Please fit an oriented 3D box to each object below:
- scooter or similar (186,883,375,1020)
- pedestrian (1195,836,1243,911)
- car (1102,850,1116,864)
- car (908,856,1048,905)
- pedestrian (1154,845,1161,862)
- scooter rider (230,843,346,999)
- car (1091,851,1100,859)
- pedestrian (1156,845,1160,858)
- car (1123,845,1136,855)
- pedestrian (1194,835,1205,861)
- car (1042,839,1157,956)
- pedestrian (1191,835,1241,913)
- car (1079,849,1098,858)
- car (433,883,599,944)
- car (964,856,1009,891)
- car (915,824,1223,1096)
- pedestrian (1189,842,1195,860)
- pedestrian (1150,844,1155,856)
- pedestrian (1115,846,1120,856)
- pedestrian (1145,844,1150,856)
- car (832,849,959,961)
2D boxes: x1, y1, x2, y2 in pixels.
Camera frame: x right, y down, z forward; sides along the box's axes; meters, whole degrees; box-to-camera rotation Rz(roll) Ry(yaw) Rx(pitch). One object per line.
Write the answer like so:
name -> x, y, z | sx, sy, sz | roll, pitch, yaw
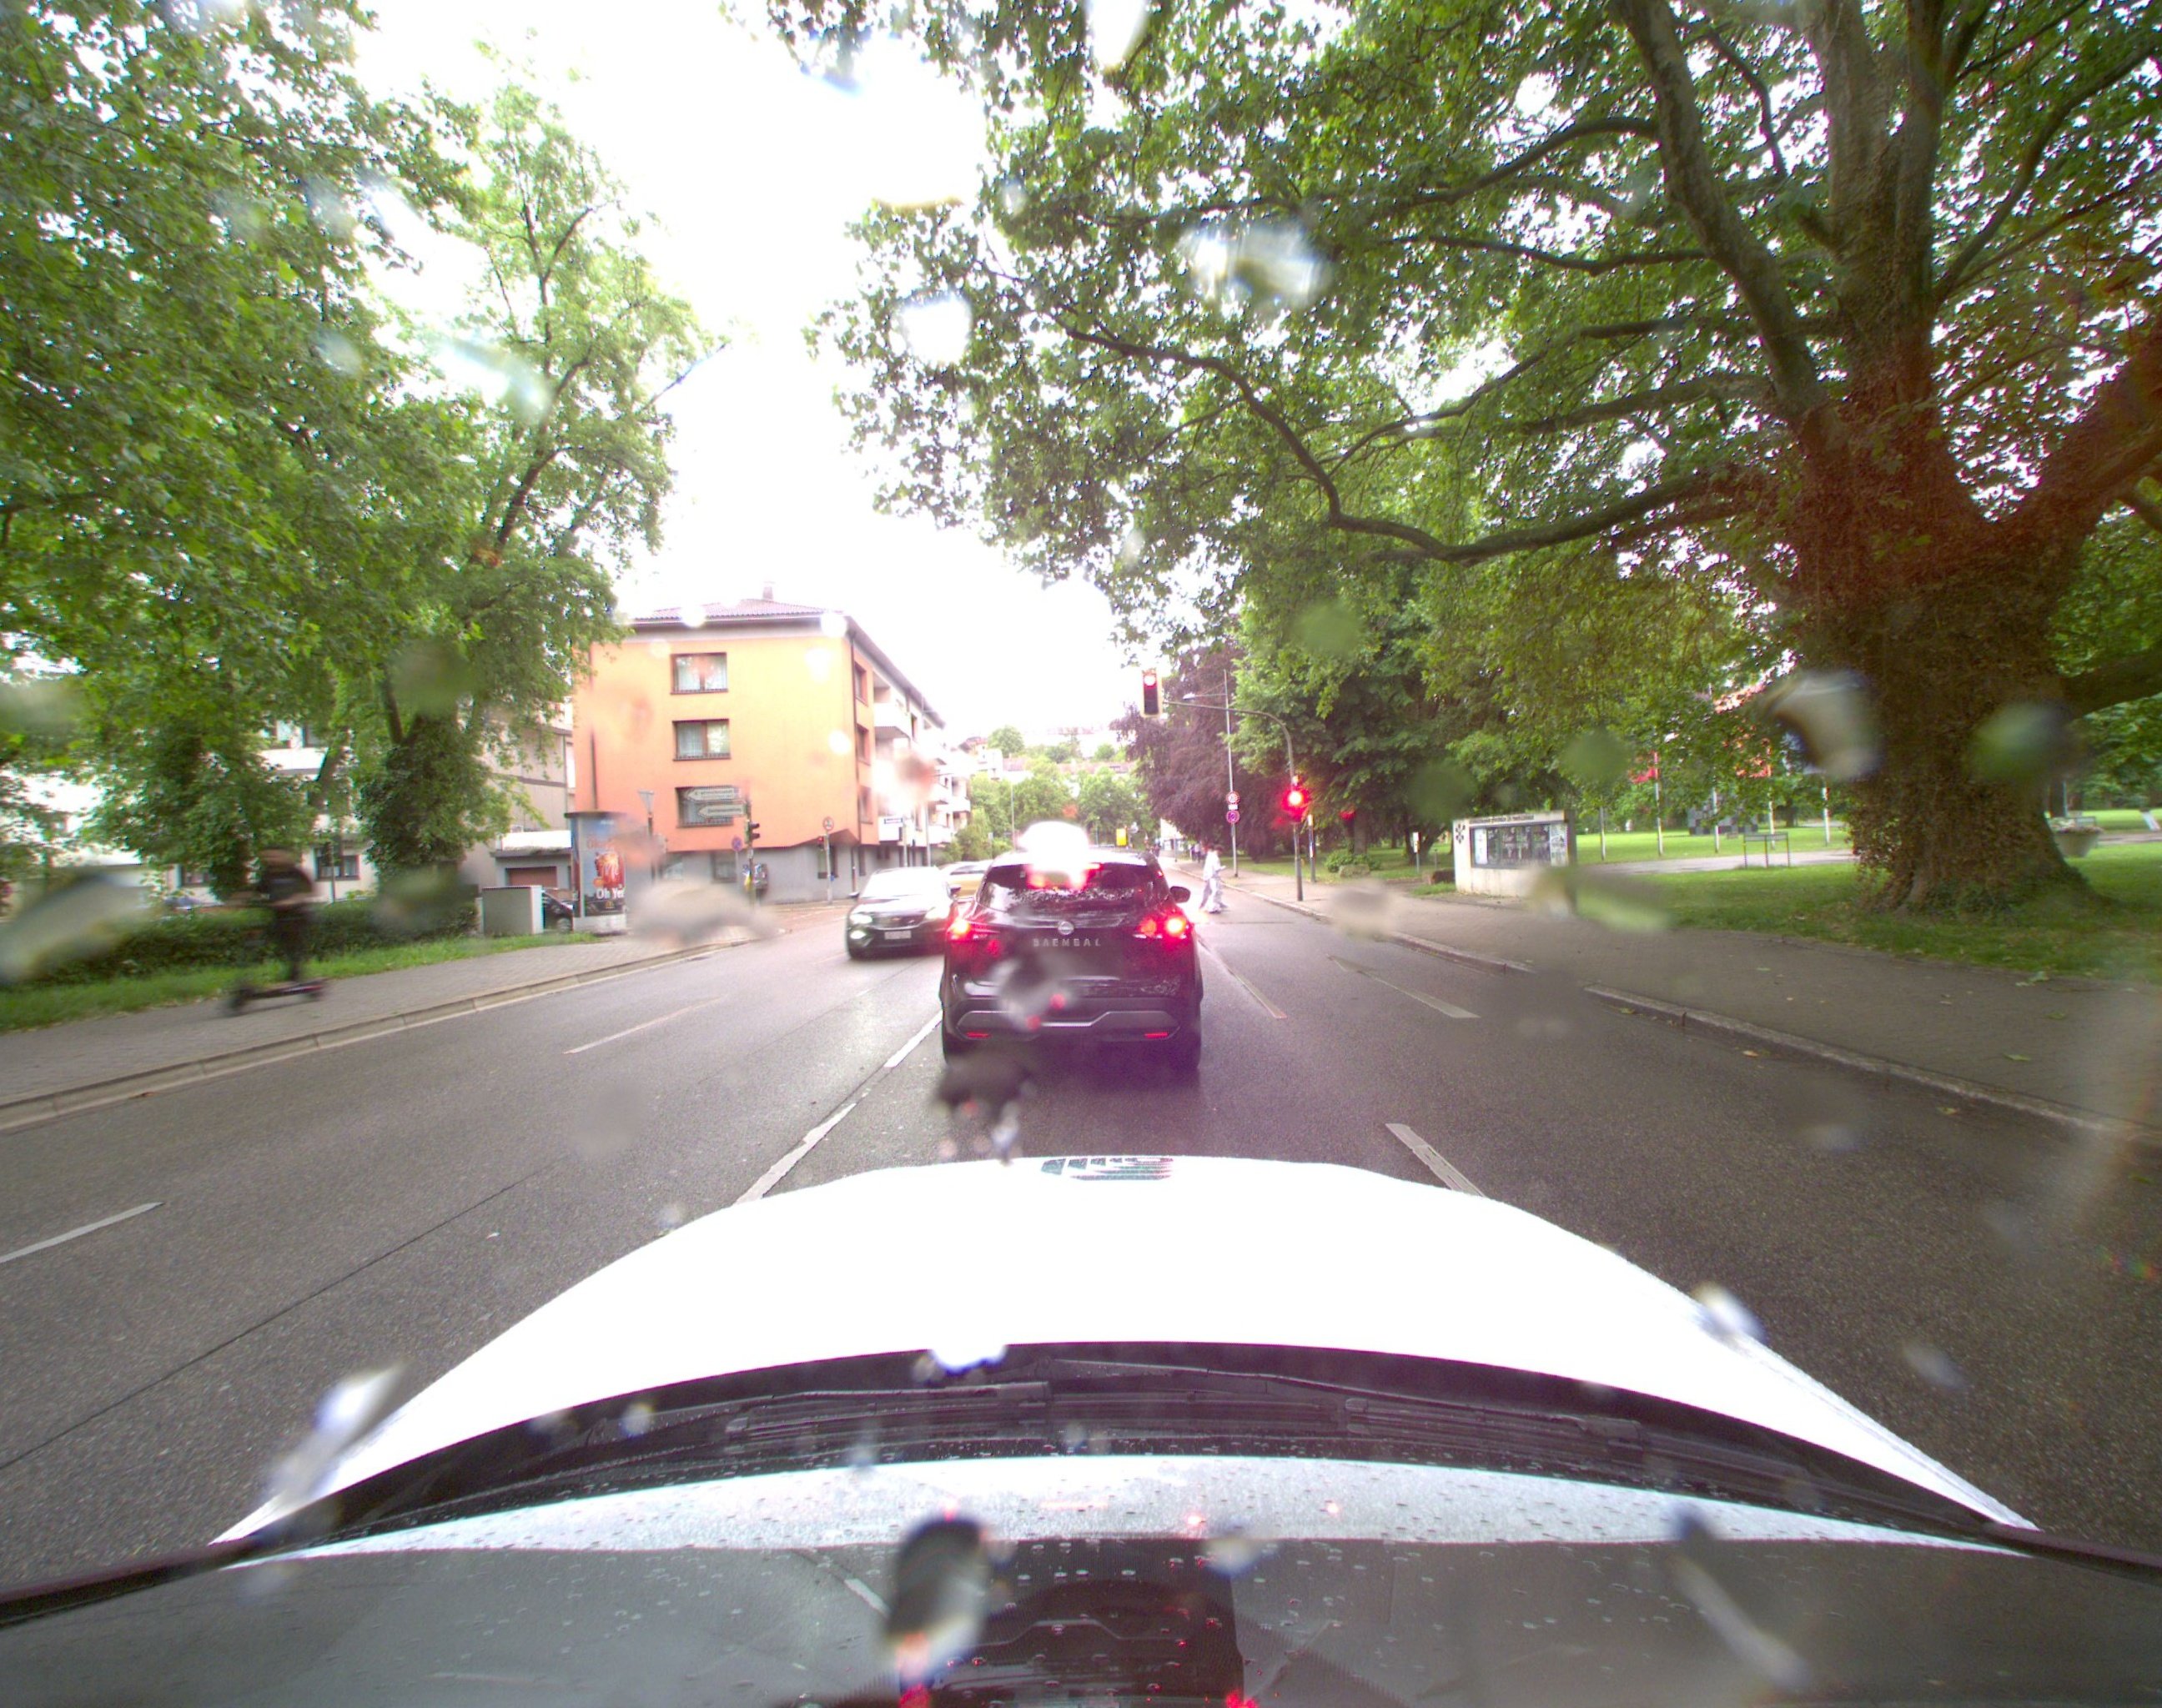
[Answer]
scooter or similar -> -9.417, 1.097, 9.662 | 0.811, 1.445, 1.399 | -1, 0, 1
pedestrian -> 3.614, 0.498, 21.329 | 1.035, 1.875, 0.656 | -3, 2, -9
car -> 3.368, 0.350, 98.758 | 1.628, 1.532, 3.969 | -3, 0, 2
car -> -3.707, 0.932, 29.586 | 4.662, 1.403, 1.815 | -4, 0, -28
pedestrian -> 8.349, -0.059, 89.043 | 0.511, 1.802, 0.614 | -3, 0, -24
scooter rider -> -9.439, 0.775, 9.714 | 0.730, 1.766, 0.646 | -2, -1, 2
car -> 2.920, 0.132, 162.853 | 1.628, 1.532, 3.969 | -3, 0, 2
pedestrian -> 11.553, -0.371, 121.882 | 0.507, 1.802, 0.619 | -3, 0, 0
car -> 8.405, -0.719, 139.677 | 1.983, 1.735, 4.007 | 0, 0, 7
pedestrian -> 9.689, -0.498, 66.452 | 0.722, 2.013, 0.852 | -3, 0, 2
car -> 0.347, 0.673, 14.527 | 1.692, 1.745, 3.642 | -3, 0, 2
pedestrian -> 3.406, 0.494, 20.581 | 1.035, 1.875, 0.656 | -3, 2, -9
car -> 1.493, -0.056, 167.833 | 1.619, 1.532, 3.992 | -3, 0, 43
car -> -17.775, 1.844, 25.820 | 3.864, 1.533, 1.791 | -4, 0, -17
car -> -4.665, 0.940, 40.607 | 1.791, 1.533, 3.865 | -3, 0, -2
car -> -0.008, 0.661, 7.122 | 1.906, 1.680, 4.002 | -1, 0, 2
pedestrian -> 9.725, -0.241, 71.132 | 0.388, 1.502, 0.559 | -3, 0, 2
pedestrian -> 10.707, -0.557, 121.877 | 0.506, 1.802, 0.659 | -3, 0, 3
pedestrian -> 5.994, -0.497, 135.238 | 0.503, 1.673, 0.663 | -3, 0, 29
pedestrian -> 10.021, -0.642, 122.651 | 0.506, 1.802, 0.620 | -3, 0, 1
car -> -3.210, 0.800, 14.815 | 1.845, 1.625, 4.125 | -4, 0, -9
